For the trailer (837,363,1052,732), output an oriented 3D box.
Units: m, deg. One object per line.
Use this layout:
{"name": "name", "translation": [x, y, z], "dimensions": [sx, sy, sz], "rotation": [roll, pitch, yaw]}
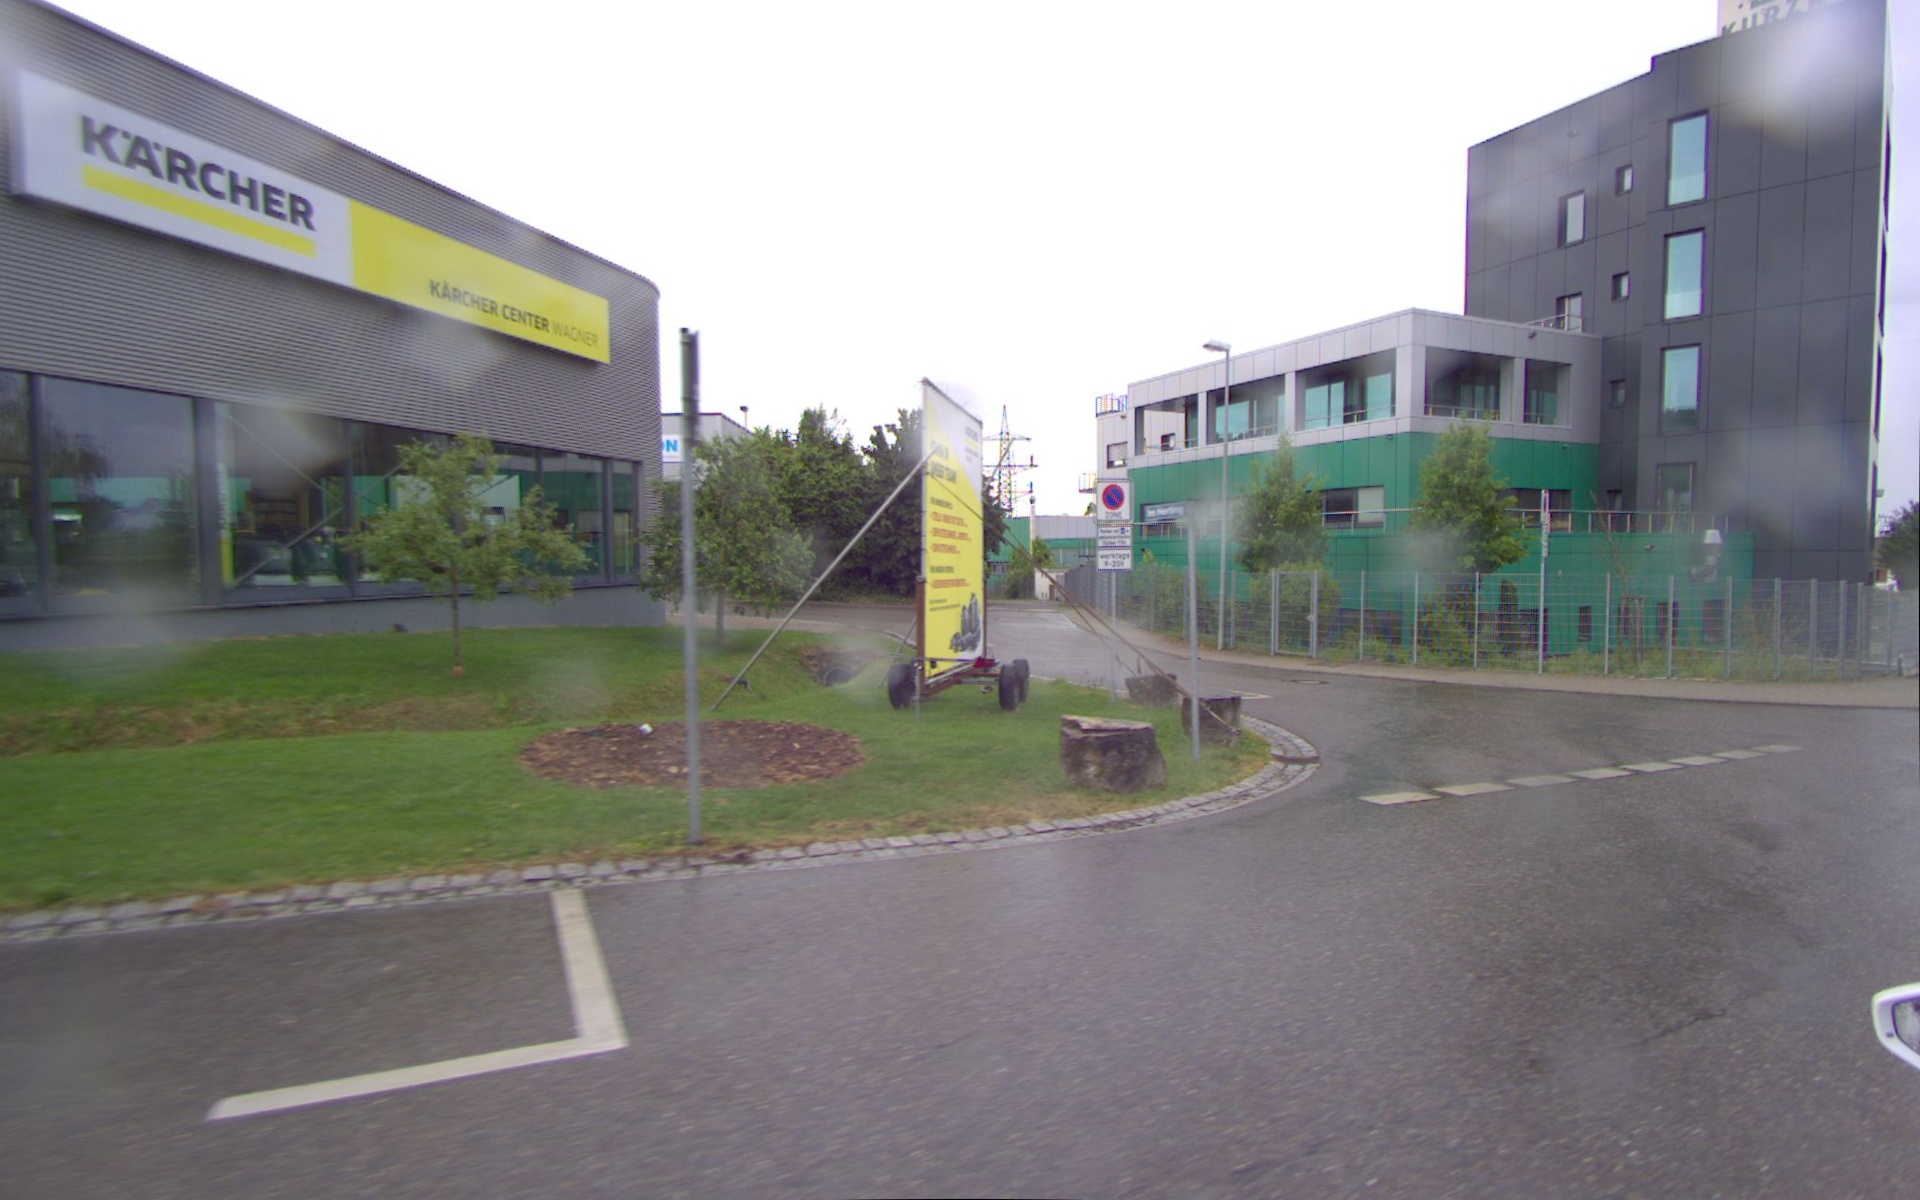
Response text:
{"name": "trailer", "translation": [-0.016, -0.616, 13.836], "dimensions": [1.965, 4.259, 4.189], "rotation": [2, 0, 12]}
